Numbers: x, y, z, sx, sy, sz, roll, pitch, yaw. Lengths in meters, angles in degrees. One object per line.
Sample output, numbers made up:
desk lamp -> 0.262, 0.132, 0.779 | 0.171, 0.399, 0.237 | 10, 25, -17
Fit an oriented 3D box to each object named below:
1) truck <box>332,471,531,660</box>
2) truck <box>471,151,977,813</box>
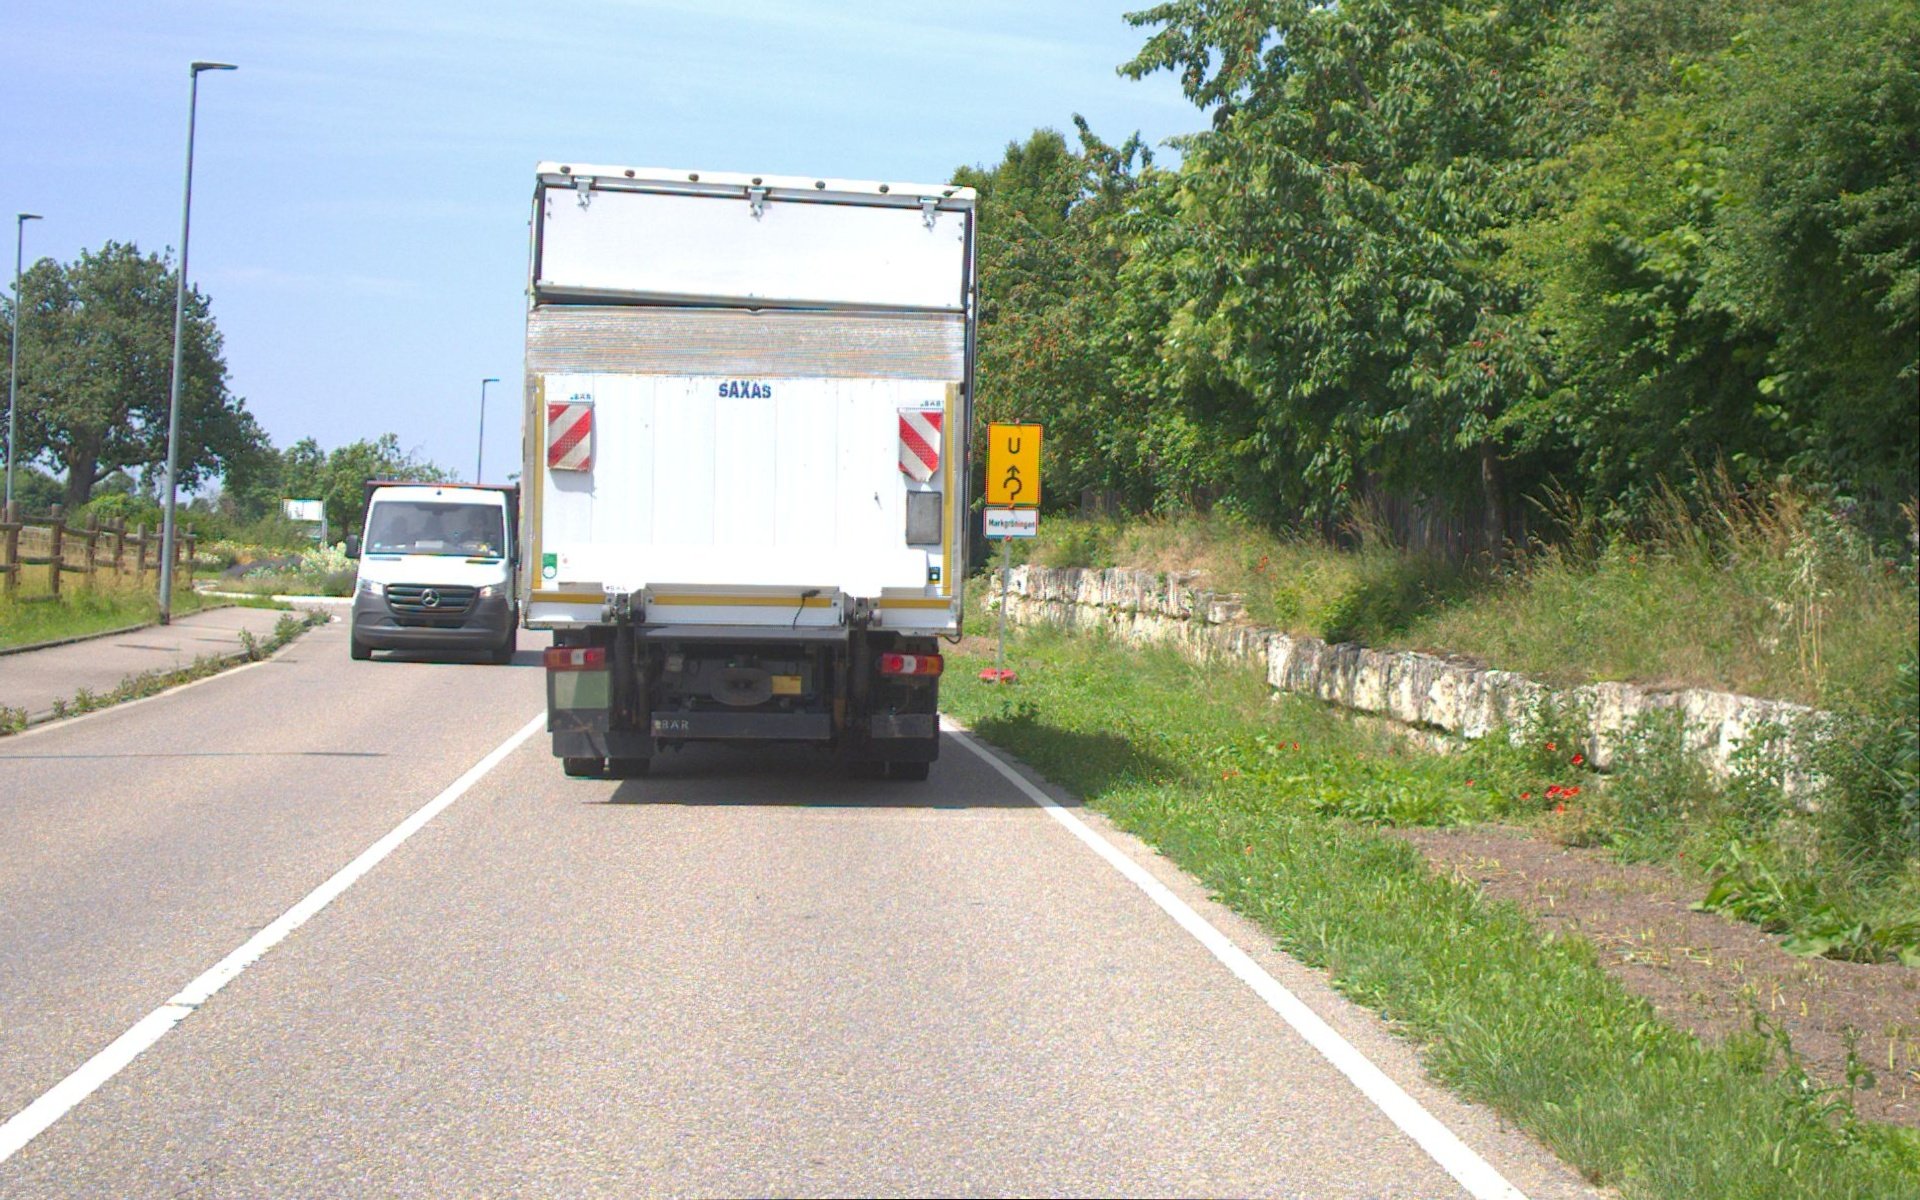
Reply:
truck -> -6.917, -0.463, 45.633 | 2.222, 2.285, 6.493 | 1, 1, -6
truck -> -1.609, -0.722, 23.952 | 2.766, 3.658, 9.384 | 1, 1, -4
